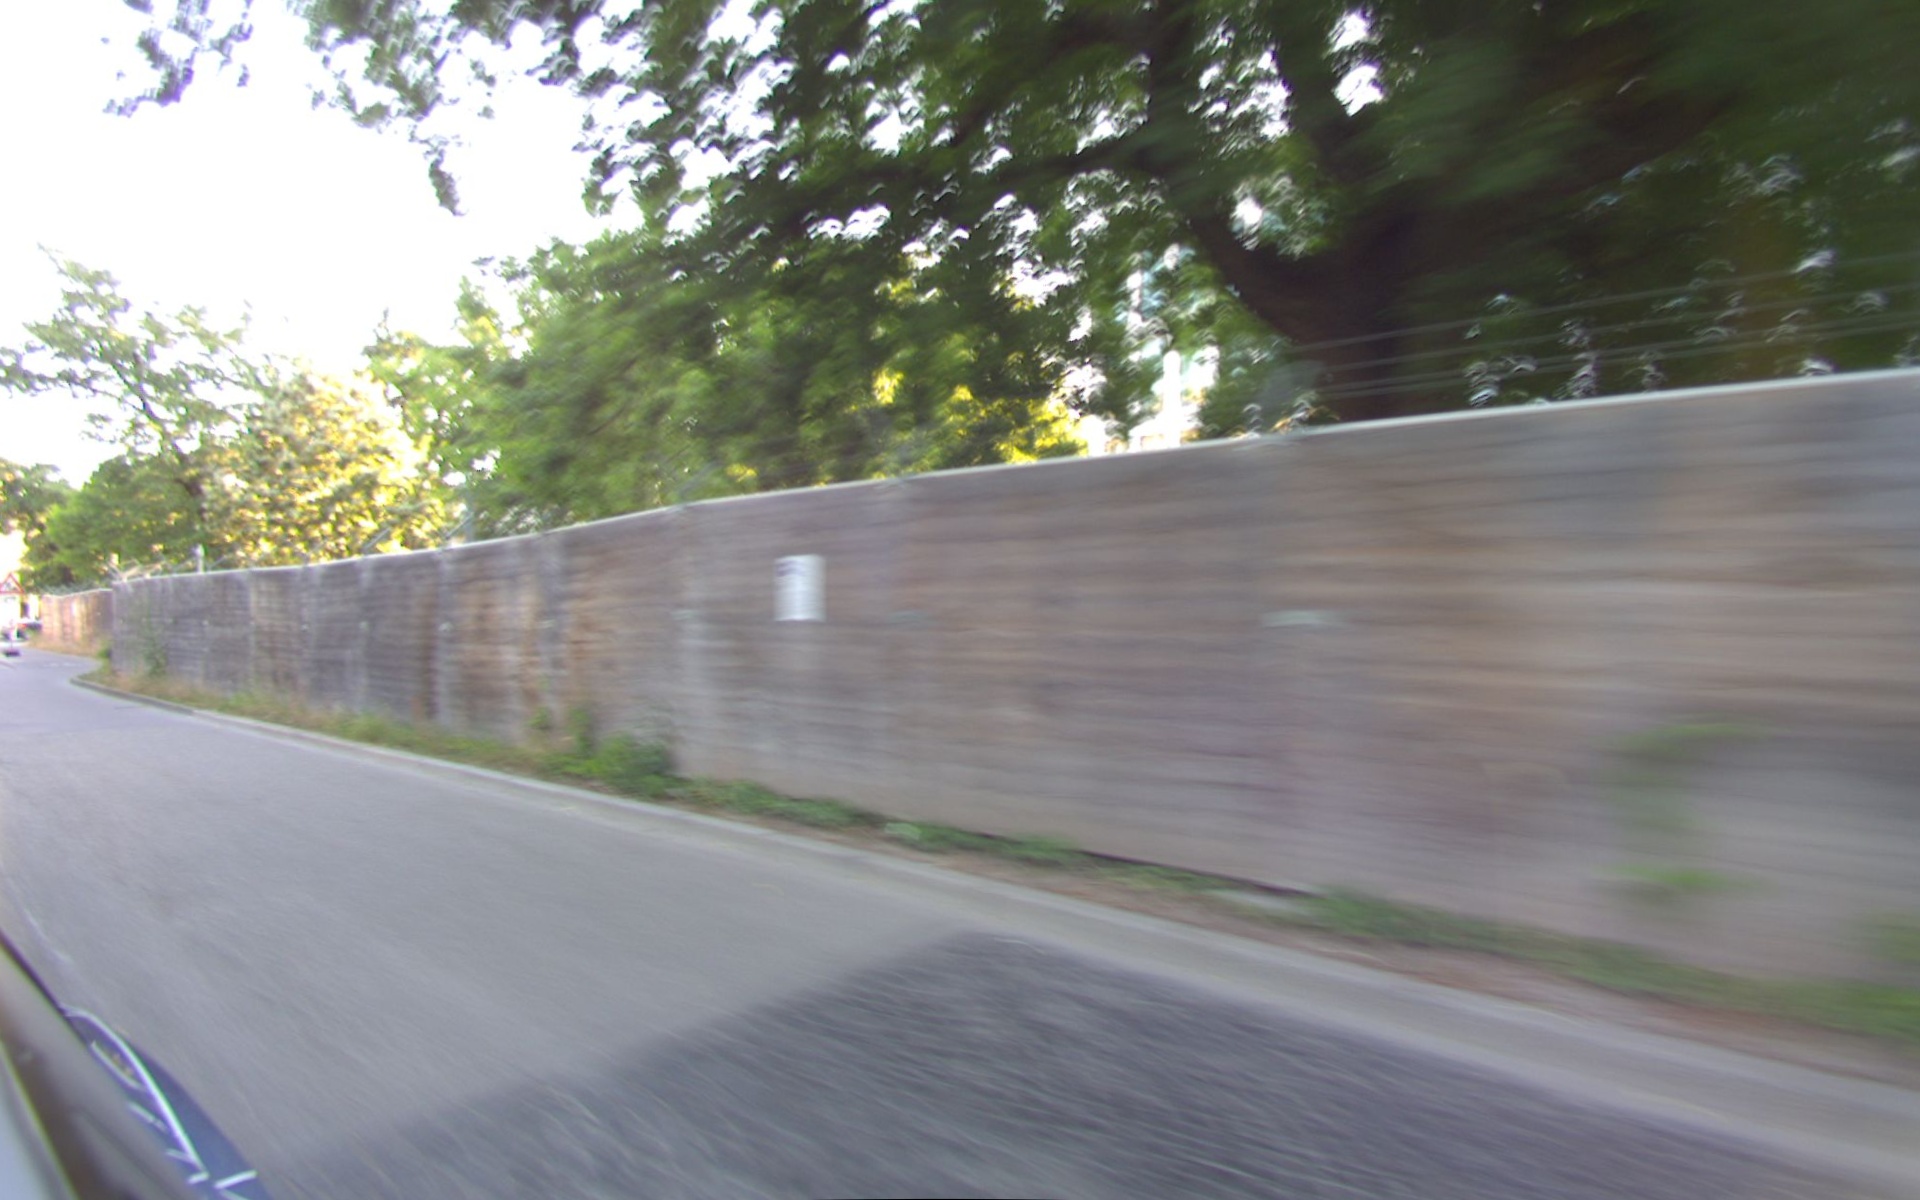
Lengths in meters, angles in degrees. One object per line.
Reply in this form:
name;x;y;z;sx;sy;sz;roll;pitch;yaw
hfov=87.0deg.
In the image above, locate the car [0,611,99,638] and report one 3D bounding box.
car;-49.992;1.318;55.474;1.787;1.399;3.882;0;-1;20
